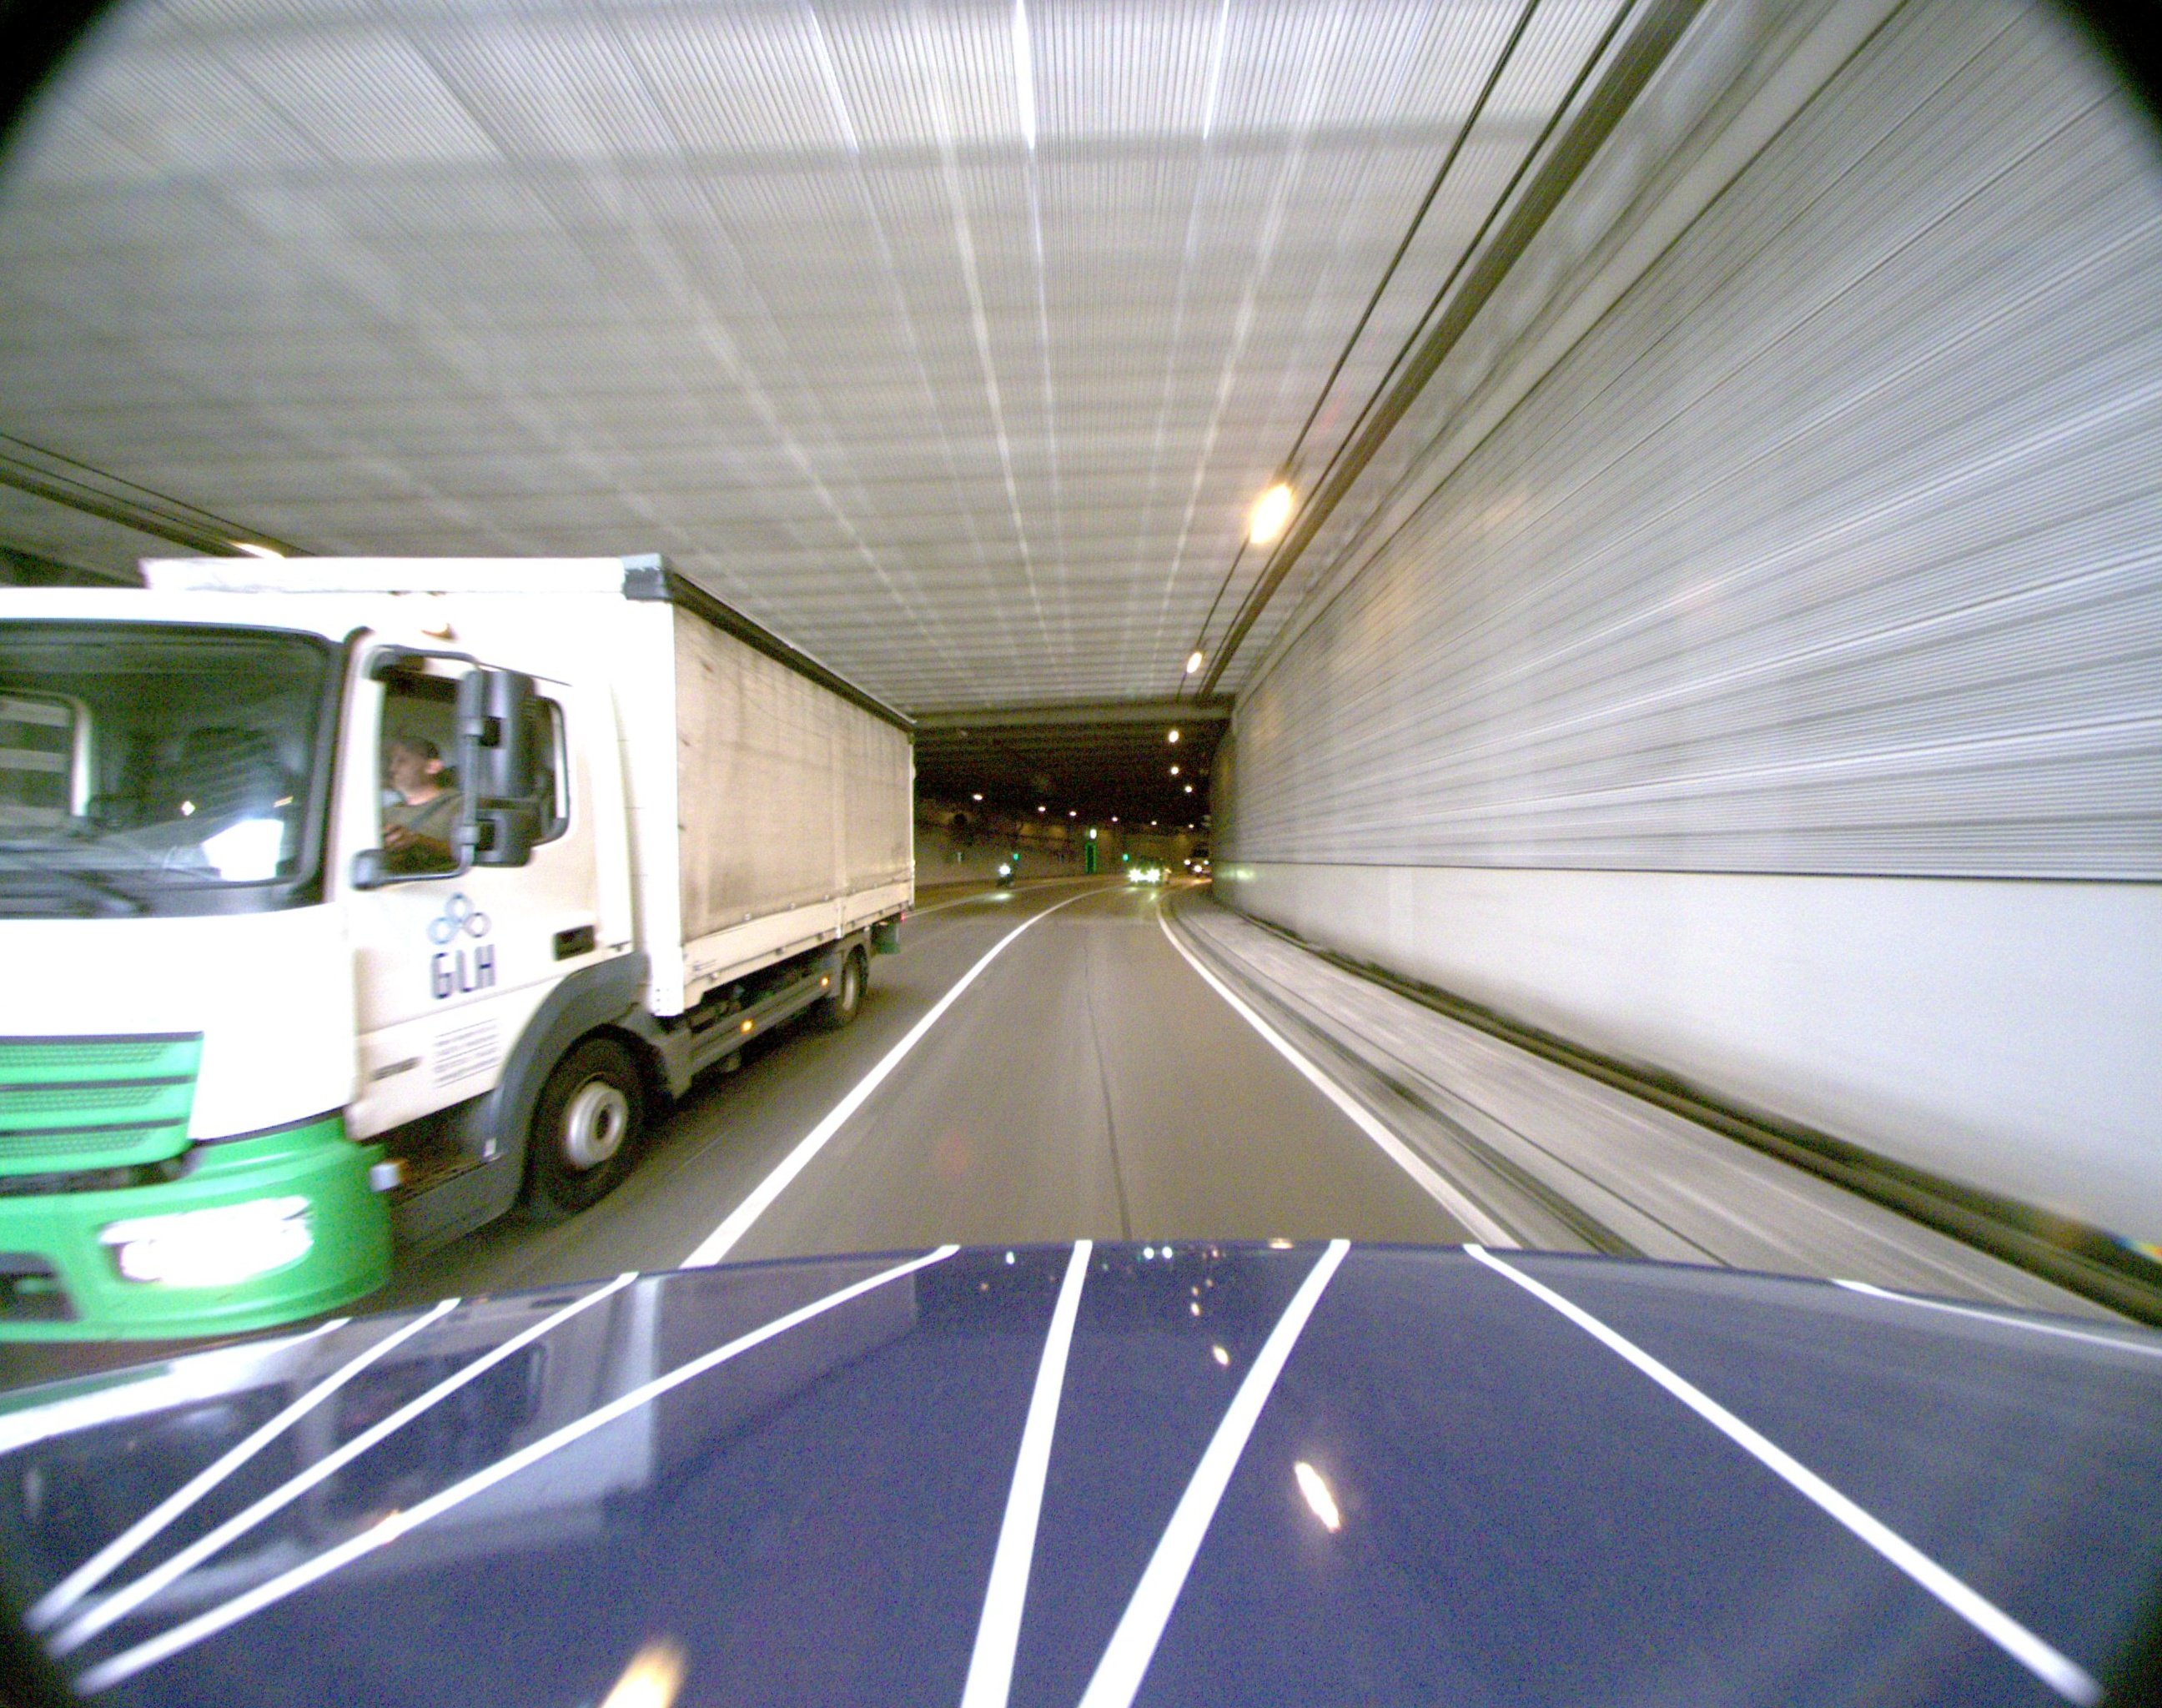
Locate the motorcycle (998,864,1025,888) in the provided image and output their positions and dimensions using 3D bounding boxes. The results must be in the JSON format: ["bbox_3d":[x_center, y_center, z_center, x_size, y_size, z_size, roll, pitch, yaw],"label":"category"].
[{"bbox_3d":[-3.140,0.992,34.600,0.549,0.970,1.837,-3,0,17],"label":"motorcycle"}]

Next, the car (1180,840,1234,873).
[{"bbox_3d":[11.232,0.151,67.173,2.555,2.752,7.364,-1,0,27],"label":"car"}]

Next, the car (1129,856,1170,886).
[{"bbox_3d":[3.614,0.850,39.529,1.720,1.455,4.003,-1,0,10],"label":"car"}]

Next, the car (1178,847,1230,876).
[{"bbox_3d":[9.360,0.549,57.251,2.371,1.914,5.207,-3,0,26],"label":"car"}]

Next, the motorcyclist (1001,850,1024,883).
[{"bbox_3d":[-3.134,0.563,34.616,0.746,1.482,0.788,-2,1,17],"label":"motorcyclist"}]

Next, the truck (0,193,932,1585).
[{"bbox_3d":[-3.256,0.107,5.497,2.636,3.220,7.416,-1,0,2],"label":"truck"}]
